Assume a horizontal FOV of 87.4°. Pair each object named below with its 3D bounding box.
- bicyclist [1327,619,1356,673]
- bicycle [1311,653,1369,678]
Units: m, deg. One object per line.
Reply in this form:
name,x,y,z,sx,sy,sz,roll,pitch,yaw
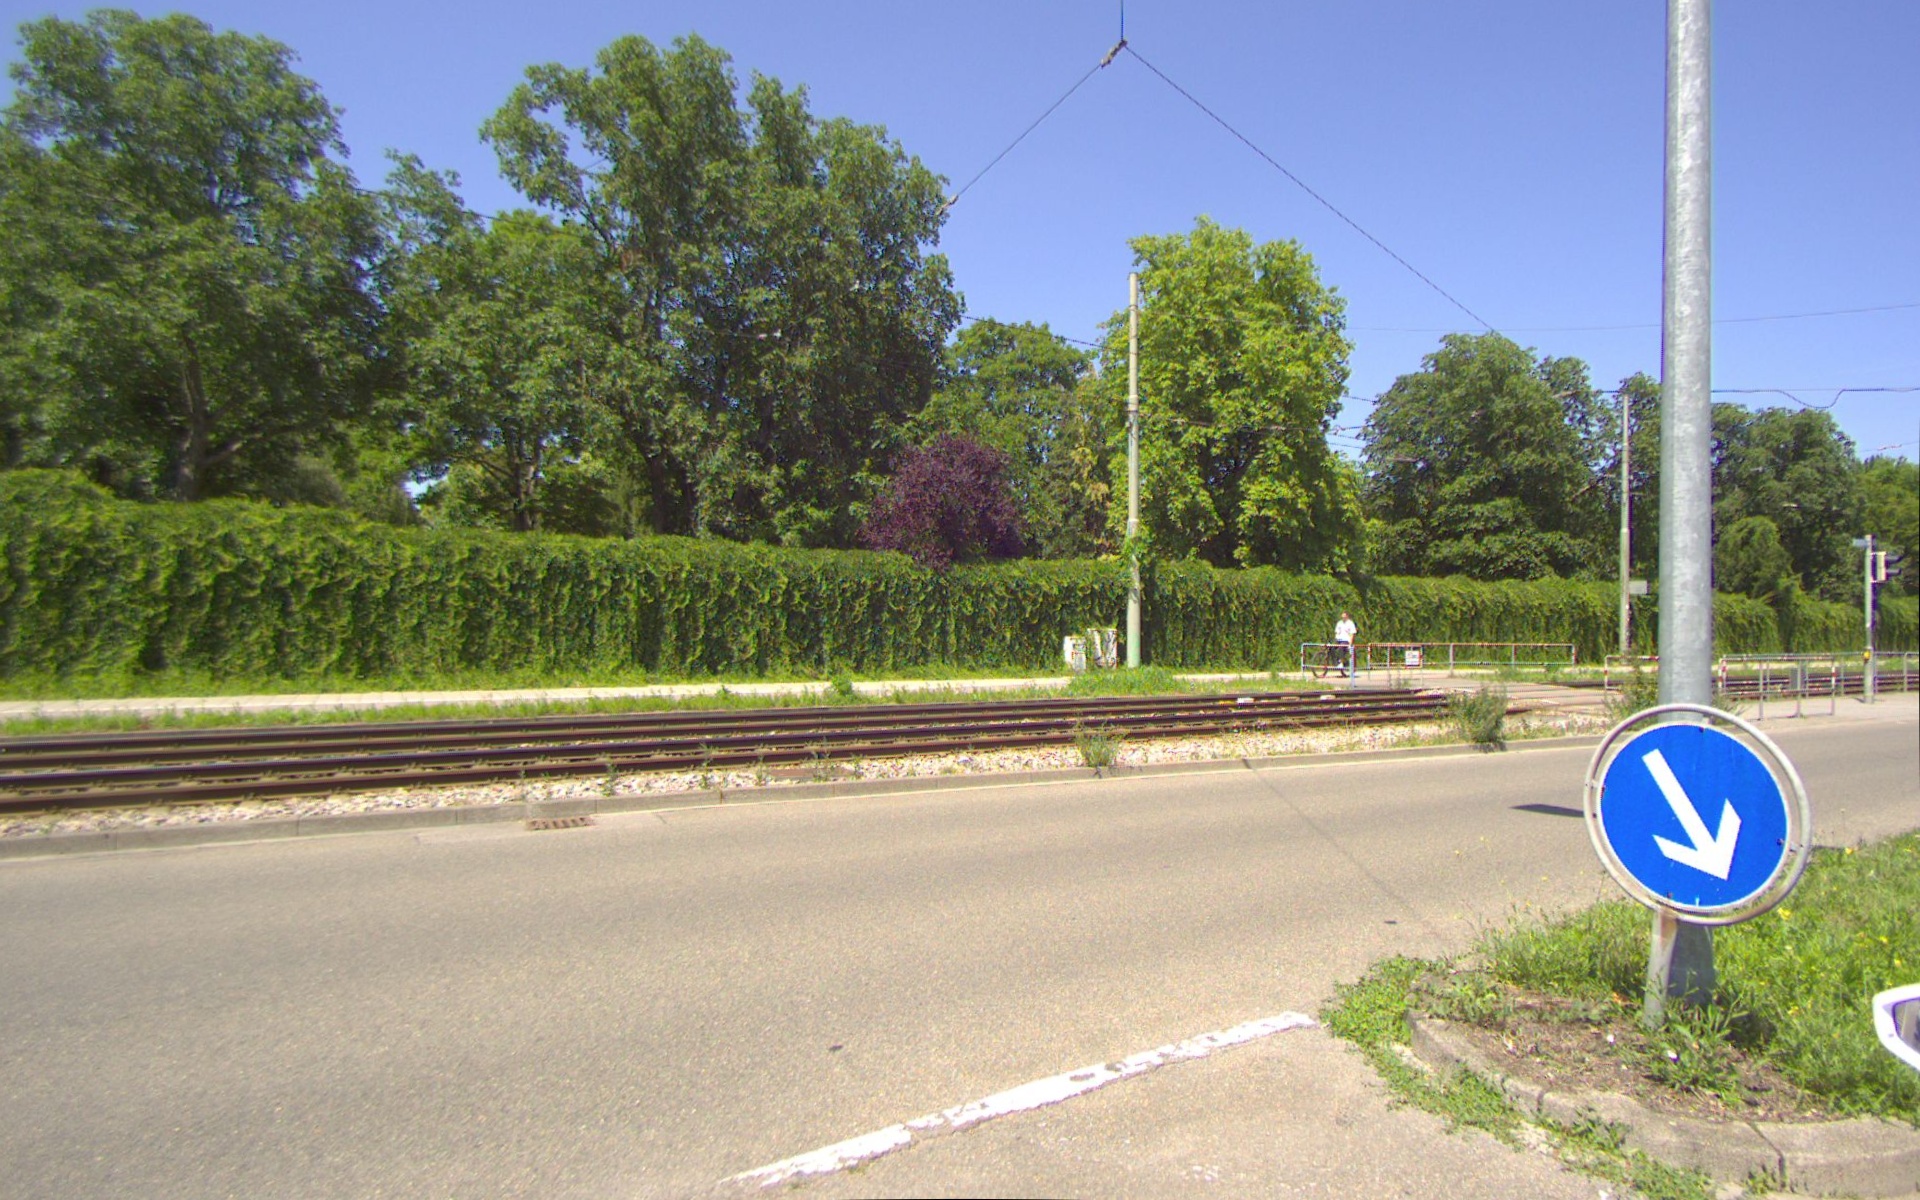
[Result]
bicyclist,10.678,1.281,28.122,0.554,1.497,0.555,1,-1,-29
bicycle,10.626,1.831,28.093,1.699,0.656,0.558,1,-1,-29
